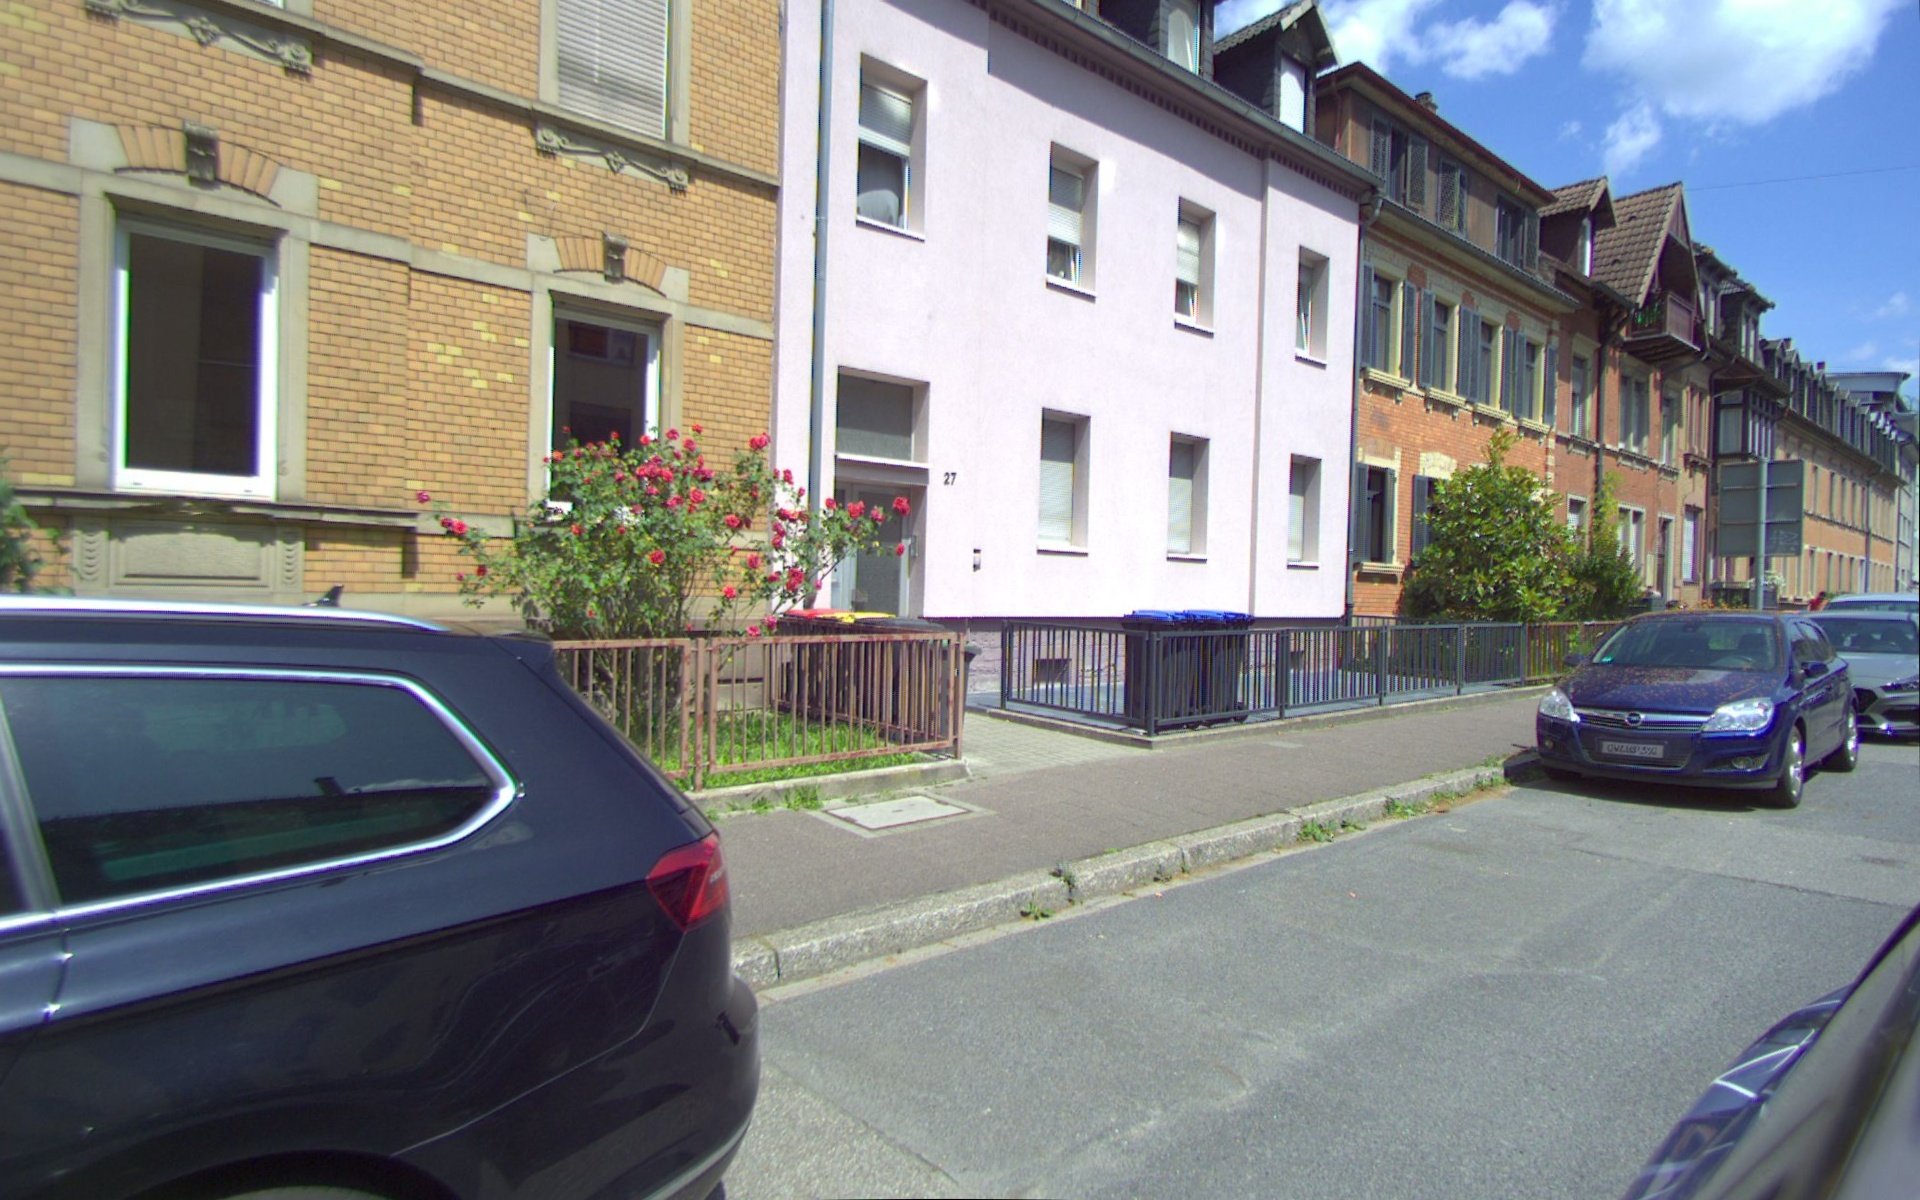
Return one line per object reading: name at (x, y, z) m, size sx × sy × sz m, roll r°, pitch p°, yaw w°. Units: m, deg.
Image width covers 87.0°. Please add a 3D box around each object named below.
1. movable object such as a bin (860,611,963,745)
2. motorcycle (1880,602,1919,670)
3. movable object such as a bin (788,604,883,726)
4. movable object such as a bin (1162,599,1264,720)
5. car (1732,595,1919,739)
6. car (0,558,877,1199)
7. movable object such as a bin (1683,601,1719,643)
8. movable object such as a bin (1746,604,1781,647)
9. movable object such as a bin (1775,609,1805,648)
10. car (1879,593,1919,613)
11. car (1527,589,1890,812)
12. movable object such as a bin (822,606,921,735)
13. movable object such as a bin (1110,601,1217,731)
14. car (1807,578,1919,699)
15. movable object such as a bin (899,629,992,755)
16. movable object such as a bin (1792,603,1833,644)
movable object such as a bin at (-0.408, 0.627, 8.515) m, size 0.656 × 1.045 × 0.529 m, roll 1°, pitch 2°, yaw -41°
motorcycle at (20.840, 0.776, 21.287) m, size 1.091 × 1.403 × 1.998 m, roll 0°, pitch 1°, yaw -3°
movable object such as a bin at (-1.154, 0.577, 9.371) m, size 0.656 × 1.063 × 0.560 m, roll 0°, pitch 1°, yaw -42°
movable object such as a bin at (2.436, 0.547, 9.746) m, size 0.671 × 1.096 × 0.654 m, roll 1°, pitch 1°, yaw -37°
car at (11.126, 0.709, 12.493) m, size 4.237 × 1.506 × 1.862 m, roll 0°, pitch -1°, yaw -43°
car at (-2.466, 0.691, 1.186) m, size 4.538 × 1.483 × 1.863 m, roll 0°, pitch -1°, yaw -42°
movable object such as a bin at (19.995, 0.580, 27.298) m, size 0.747 × 1.090 × 0.610 m, roll 0°, pitch 1°, yaw -40°
movable object such as a bin at (20.856, 0.648, 26.270) m, size 0.714 × 1.089 × 0.558 m, roll 0°, pitch 1°, yaw -40°
movable object such as a bin at (21.192, 0.725, 25.836) m, size 0.517 × 0.953 × 0.482 m, roll 1°, pitch 1°, yaw -40°
car at (85.308, 0.259, 91.098) m, size 3.761 × 1.688 × 1.639 m, roll 3°, pitch 2°, yaw 42°
car at (6.803, 0.686, 8.990) m, size 4.538 × 1.506 × 1.698 m, roll 0°, pitch -1°, yaw -42°
movable object such as a bin at (-0.780, 0.596, 8.935) m, size 0.656 × 1.063 × 0.560 m, roll 0°, pitch 1°, yaw -42°
movable object such as a bin at (1.849, 0.570, 9.202) m, size 0.671 × 1.096 × 0.654 m, roll 1°, pitch 1°, yaw -37°
car at (15.416, 0.570, 16.624) m, size 4.542 × 1.770 × 1.861 m, roll 0°, pitch -1°, yaw -44°
movable object such as a bin at (-0.117, 0.711, 8.076) m, size 0.554 × 0.924 × 0.468 m, roll 1°, pitch 2°, yaw -42°
movable object such as a bin at (24.001, 0.657, 28.487) m, size 0.675 × 1.102 × 0.788 m, roll 0°, pitch 2°, yaw -44°
